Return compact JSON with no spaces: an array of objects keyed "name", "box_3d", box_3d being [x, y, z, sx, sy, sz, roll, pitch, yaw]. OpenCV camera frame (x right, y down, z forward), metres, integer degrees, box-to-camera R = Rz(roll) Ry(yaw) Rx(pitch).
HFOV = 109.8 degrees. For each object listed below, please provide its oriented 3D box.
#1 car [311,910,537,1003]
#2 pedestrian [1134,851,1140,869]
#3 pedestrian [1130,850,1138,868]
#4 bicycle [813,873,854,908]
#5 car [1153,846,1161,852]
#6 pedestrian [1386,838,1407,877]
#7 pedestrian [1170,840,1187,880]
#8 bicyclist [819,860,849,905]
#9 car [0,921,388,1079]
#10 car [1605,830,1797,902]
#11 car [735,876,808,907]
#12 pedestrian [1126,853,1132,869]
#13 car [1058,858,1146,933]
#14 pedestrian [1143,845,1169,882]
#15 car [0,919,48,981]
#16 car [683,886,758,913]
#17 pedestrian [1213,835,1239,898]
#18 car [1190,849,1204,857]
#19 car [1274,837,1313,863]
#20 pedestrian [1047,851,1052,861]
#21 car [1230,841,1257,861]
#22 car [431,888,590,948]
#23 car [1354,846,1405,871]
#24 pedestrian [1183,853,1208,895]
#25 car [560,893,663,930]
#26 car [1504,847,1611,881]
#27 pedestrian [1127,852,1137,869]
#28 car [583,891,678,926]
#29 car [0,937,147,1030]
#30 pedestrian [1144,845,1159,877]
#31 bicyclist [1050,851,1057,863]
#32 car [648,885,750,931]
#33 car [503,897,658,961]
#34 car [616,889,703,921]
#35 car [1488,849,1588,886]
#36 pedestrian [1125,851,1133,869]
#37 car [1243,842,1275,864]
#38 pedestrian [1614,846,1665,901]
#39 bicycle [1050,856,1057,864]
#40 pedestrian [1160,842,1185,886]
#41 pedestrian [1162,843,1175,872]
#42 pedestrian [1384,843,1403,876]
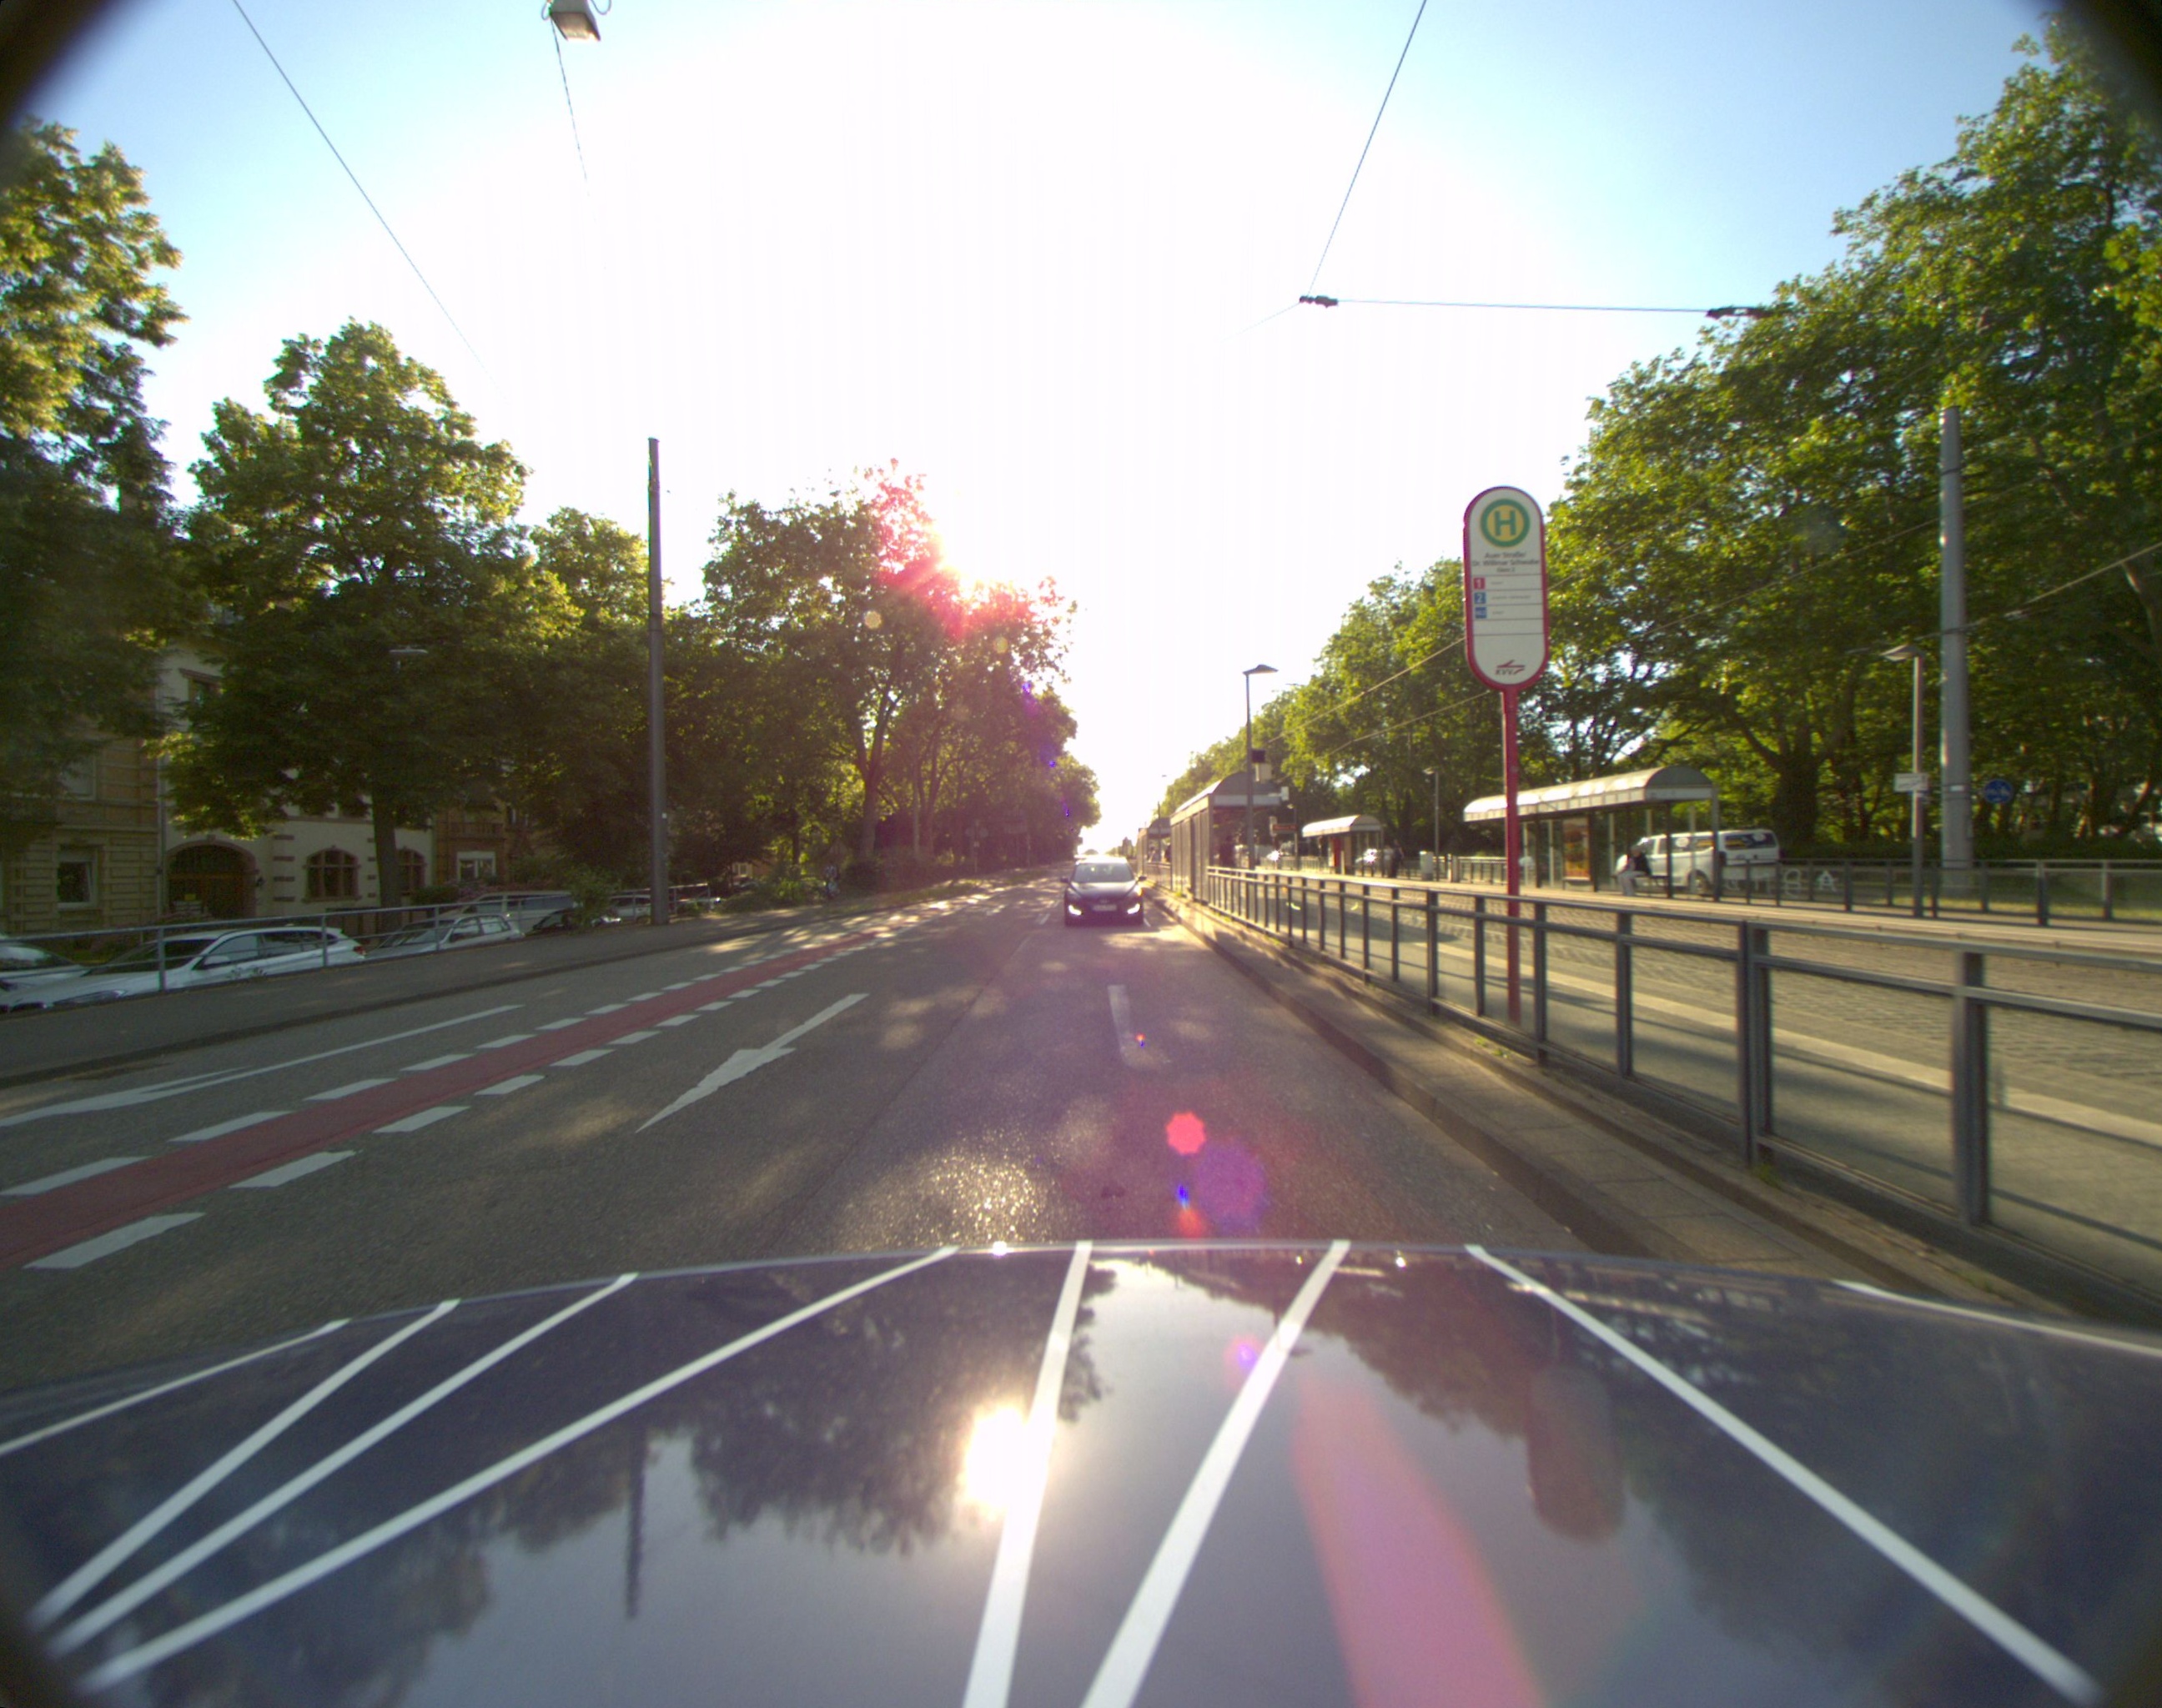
[{"name":"car","box_3d":[-14.171,2.137,16.701,1.799,1.433,3.576,-2,1,-1]},{"name":"pedestrian","box_3d":[4.808,0.507,65.405,0.521,1.464,0.514,1,1,2]},{"name":"pedestrian","box_3d":[4.636,0.425,66.059,0.520,1.559,0.509,2,1,31]},{"name":"bicycle","box_3d":[-8.510,1.234,26.207,0.768,1.101,1.800,-1,0,1]},{"name":"car","box_3d":[21.429,-1.341,213.356,1.734,1.730,3.899,1,1,-1]},{"name":"pedestrian","box_3d":[14.427,0.164,34.756,0.649,1.762,0.650,-2,2,3]},{"name":"pedestrian","box_3d":[4.513,0.269,35.085,0.652,1.831,0.711,-2,1,11]},{"name":"bicyclist","box_3d":[-8.507,0.971,26.208,0.768,1.504,0.650,-1,1,0]},{"name":"car","box_3d":[-14.212,2.134,12.243,1.799,1.570,4.552,-2,1,1]},{"name":"car","box_3d":[20.089,0.313,24.997,2.072,2.112,5.089,1,1,-1]},{"name":"car","box_3d":[-21.547,2.547,52.933,4.470,2.002,1.992,0,0,-29]},{"name":"pedestrian","box_3d":[4.085,0.606,64.731,0.417,1.313,0.359,1,1,1]},{"name":"car","box_3d":[0.477,0.888,18.142,1.799,1.501,4.000,-2,0,1]},{"name":"pedestrian","box_3d":[3.495,0.443,35.475,0.800,1.624,0.868,-3,0,39]},{"name":"car","box_3d":[-29.897,2.547,19.719,3.575,1.513,1.799,0,0,-2]},{"name":"car","box_3d":[-22.120,2.767,46.612,4.007,1.501,1.796,0,0,-31]},{"name":"pedestrian","box_3d":[3.930,0.320,20.587,0.596,1.668,0.589,-2,1,6]},{"name":"car","box_3d":[20.795,-0.181,136.475,1.832,1.428,4.323,1,1,-1]},{"name":"car","box_3d":[21.579,-0.407,77.523,2.189,2.506,6.031,1,1,-1]},{"name":"pedestrian","box_3d":[-5.171,0.398,125.655,0.649,1.626,0.928,1,1,2]},{"name":"car","box_3d":[21.439,-0.447,100.534,2.189,2.506,6.048,1,1,-1]},{"name":"car","box_3d":[-21.616,2.372,29.083,4.690,1.954,1.868,0,0,-31]},{"name":"car","box_3d":[20.783,0.258,53.078,1.908,1.642,3.971,1,1,-2]},{"name":"pedestrian","box_3d":[3.598,0.624,23.932,0.680,1.301,0.593,-2,1,2]},{"name":"car","box_3d":[-21.629,2.616,35.088,3.932,1.443,1.685,0,0,-33]},{"name":"car","box_3d":[20.150,0.374,32.370,1.774,1.284,4.314,1,1,-1]},{"name":"pedestrian","box_3d":[4.299,0.570,64.183,0.592,1.398,0.558,1,1,-19]},{"name":"car","box_3d":[-22.408,2.670,37.900,4.007,1.501,1.796,0,0,-31]},{"name":"car","box_3d":[-21.106,2.445,14.617,3.997,1.505,1.800,0,0,-1]},{"name":"pedestrian","box_3d":[3.904,0.382,42.189,0.744,1.685,0.791,-3,1,2]},{"name":"bicyclist","box_3d":[-3.889,0.388,107.337,0.700,1.718,1.081,-1,0,9]},{"name":"car","box_3d":[-14.338,1.979,28.767,1.799,1.301,3.999,-2,1,-1]},{"name":"car","box_3d":[-14.329,2.095,22.070,1.799,1.301,3.999,-2,1,-1]},{"name":"car","box_3d":[-22.695,2.690,40.929,4.007,1.501,1.796,0,0,-31]},{"name":"car","box_3d":[20.296,0.552,34.005,1.799,1.501,4.340,1,1,-1]},{"name":"pedestrian","box_3d":[4.133,0.484,65.308,0.591,1.511,0.514,1,1,2]},{"name":"car","box_3d":[21.609,-0.164,92.629,2.189,2.506,6.269,1,1,-2]},{"name":"pedestrian","box_3d":[13.902,0.475,18.941,0.671,1.317,0.757,1,1,-1]},{"name":"bicycle","box_3d":[-3.879,0.777,107.341,0.700,1.101,1.931,-1,0,9]},{"name":"pedestrian","box_3d":[3.721,0.404,30.861,0.654,1.712,0.708,-3,1,-35]},{"name":"pedestrian","box_3d":[4.863,0.179,42.105,0.589,1.558,0.650,-3,1,2]},{"name":"pedestrian","box_3d":[14.635,0.254,35.601,0.594,1.535,0.626,-2,2,1]}]
